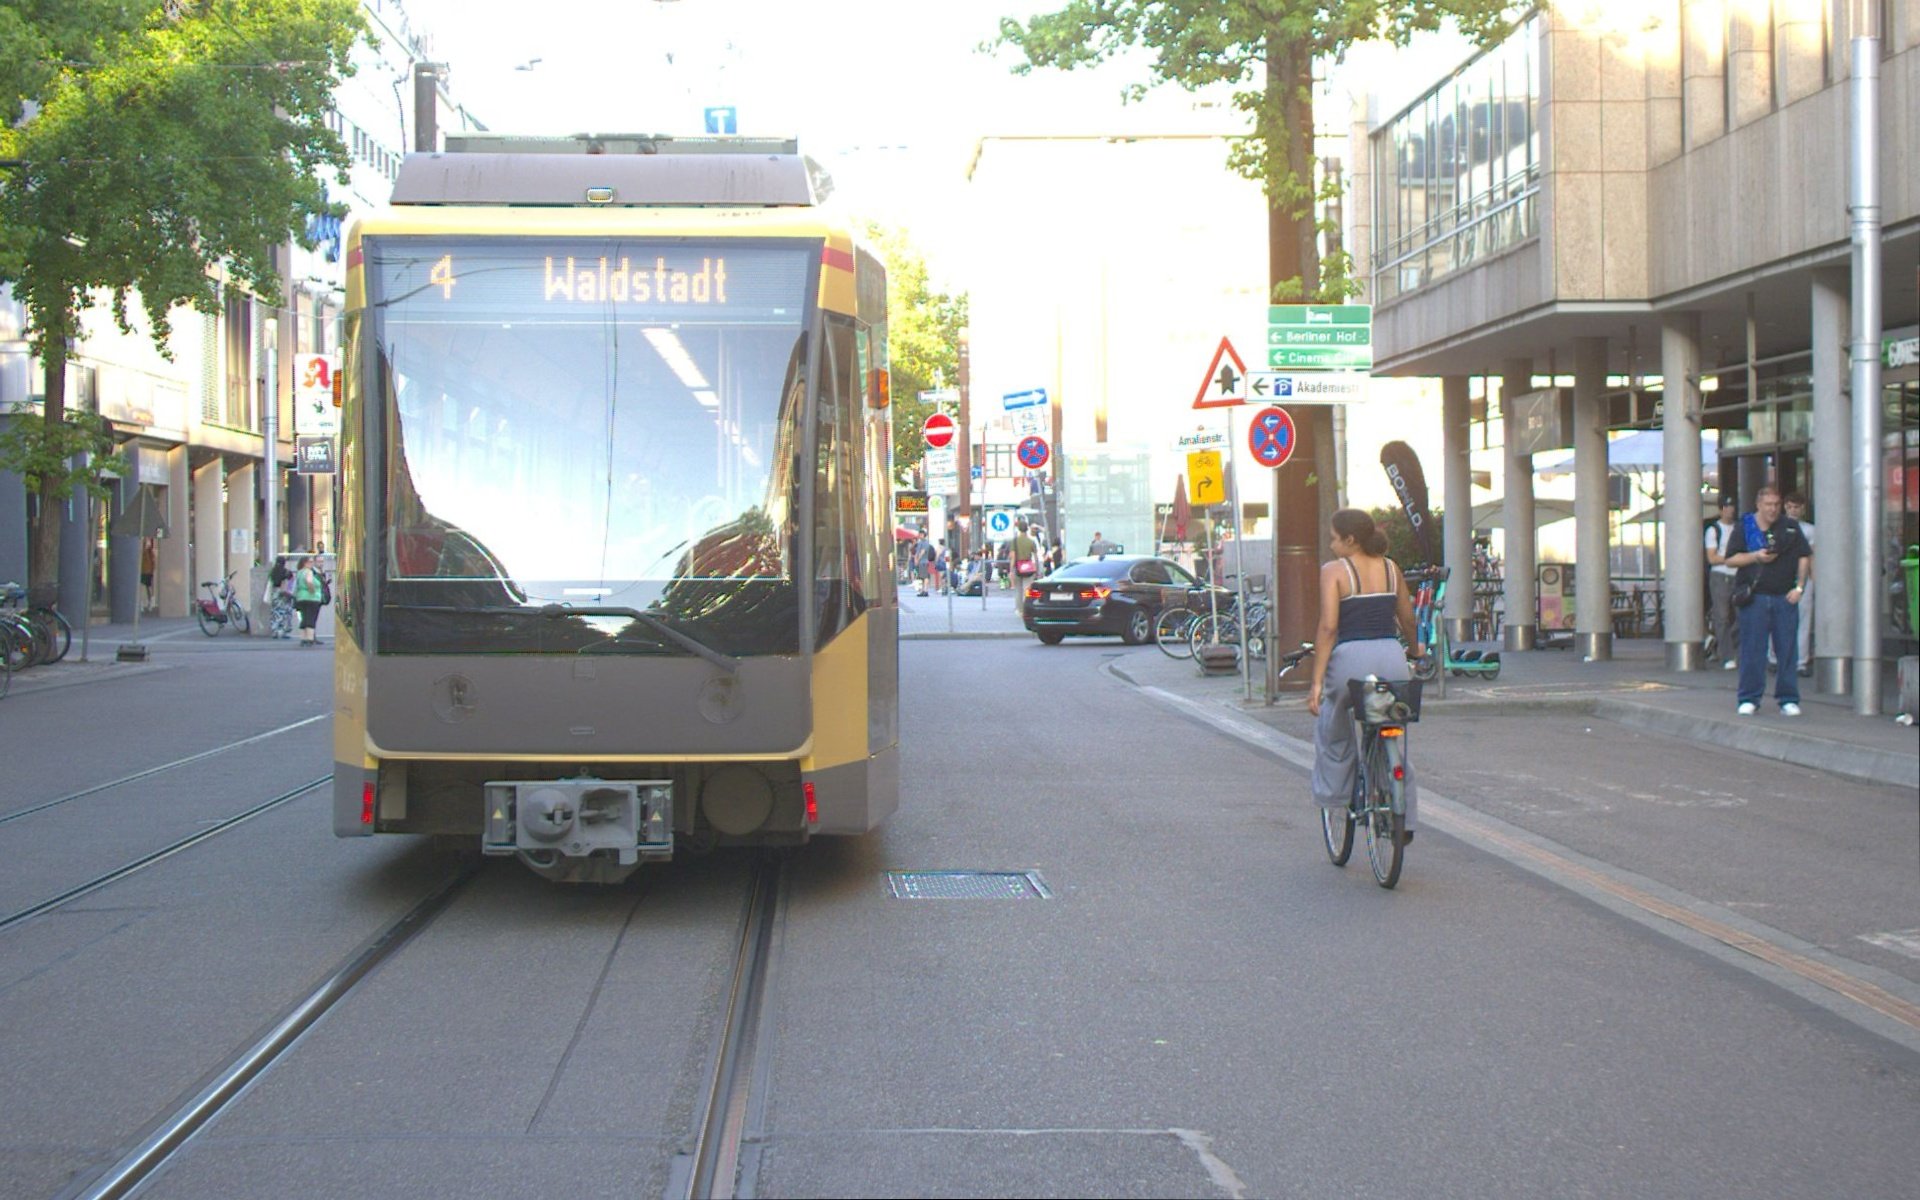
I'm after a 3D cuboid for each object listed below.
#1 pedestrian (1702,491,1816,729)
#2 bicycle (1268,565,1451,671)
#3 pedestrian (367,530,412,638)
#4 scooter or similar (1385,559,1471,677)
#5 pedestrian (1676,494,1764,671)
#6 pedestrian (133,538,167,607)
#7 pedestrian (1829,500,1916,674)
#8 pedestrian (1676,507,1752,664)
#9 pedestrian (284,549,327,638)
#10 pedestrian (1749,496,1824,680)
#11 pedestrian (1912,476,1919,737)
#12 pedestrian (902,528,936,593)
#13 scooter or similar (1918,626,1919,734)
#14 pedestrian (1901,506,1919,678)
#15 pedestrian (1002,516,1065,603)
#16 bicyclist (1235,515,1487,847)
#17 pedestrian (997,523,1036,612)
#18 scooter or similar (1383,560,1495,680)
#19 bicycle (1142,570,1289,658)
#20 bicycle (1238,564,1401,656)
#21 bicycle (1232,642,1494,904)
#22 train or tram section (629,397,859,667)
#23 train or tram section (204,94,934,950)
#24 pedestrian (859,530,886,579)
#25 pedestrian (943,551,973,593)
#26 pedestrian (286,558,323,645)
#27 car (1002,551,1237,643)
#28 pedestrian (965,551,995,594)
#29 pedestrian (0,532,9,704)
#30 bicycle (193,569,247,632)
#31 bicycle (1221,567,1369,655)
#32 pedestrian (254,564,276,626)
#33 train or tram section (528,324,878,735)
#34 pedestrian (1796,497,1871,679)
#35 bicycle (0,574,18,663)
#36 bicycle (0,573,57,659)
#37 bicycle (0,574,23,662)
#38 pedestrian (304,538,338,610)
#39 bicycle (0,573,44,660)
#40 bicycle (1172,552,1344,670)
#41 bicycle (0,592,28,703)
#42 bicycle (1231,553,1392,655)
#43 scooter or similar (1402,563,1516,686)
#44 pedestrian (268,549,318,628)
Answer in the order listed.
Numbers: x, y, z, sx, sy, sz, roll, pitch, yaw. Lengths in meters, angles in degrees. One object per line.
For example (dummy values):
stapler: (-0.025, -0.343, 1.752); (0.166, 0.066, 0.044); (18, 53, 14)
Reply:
pedestrian: (6.265, 0.073, 26.982); (0.668, 1.833, 0.708); (-1, 0, -2)
bicycle: (4.733, 0.209, 40.743); (1.995, 1.151, 0.726); (-3, 1, -6)
pedestrian: (-10.267, -0.293, 61.851); (0.773, 1.919, 0.709); (-1, 0, -10)
scooter or similar: (5.160, 0.194, 37.869); (0.393, 1.247, 1.189); (0, 2, 37)
pedestrian: (8.038, -0.190, 36.376); (0.668, 1.833, 0.880); (-1, 0, -2)
pedestrian: (-20.326, -0.680, 86.256); (0.713, 1.719, 0.709); (-1, 0, -3)
pedestrian: (9.477, -0.137, 35.719); (0.663, 1.780, 0.719); (-1, 0, -1)
pedestrian: (8.709, -0.172, 39.732); (0.663, 1.780, 0.719); (-1, 0, -1)
pedestrian: (-11.410, -0.120, 59.983); (0.684, 1.536, 0.605); (-1, 0, -7)
pedestrian: (8.229, -0.125, 34.248); (0.539, 1.800, 0.604); (-1, 1, -3)
pedestrian: (7.061, 0.045, 23.922); (0.639, 1.833, 0.668); (-1, 0, -1)
pedestrian: (-1.148, -1.102, 95.582); (0.733, 1.817, 0.820); (0, 1, -16)
scooter or similar: (7.423, 0.547, 24.990); (0.834, 0.881, 0.686); (1, 0, 13)
pedestrian: (10.232, -0.092, 35.715); (0.663, 1.780, 0.719); (-1, 0, -1)
pedestrian: (1.572, -0.876, 73.896); (1.013, 1.857, 1.043); (0, 0, -22)
bicyclist: (1.859, 0.362, 16.061); (0.997, 1.497, 0.857); (1, 1, -4)
pedestrian: (1.098, -0.636, 67.062); (0.718, 1.719, 0.709); (-1, 0, -1)
scooter or similar: (5.187, 0.211, 37.227); (1.187, 1.247, 0.393); (-2, 2, -31)
bicycle: (3.418, 0.182, 45.991); (1.852, 1.105, 0.667); (-2, 1, -4)
bicycle: (4.576, 0.122, 43.822); (1.914, 1.074, 0.763); (-3, 1, -6)
bicycle: (1.848, 0.769, 16.091); (0.815, 1.069, 2.114); (1, 1, -4)
train or tram section: (-2.945, -0.966, 49.602); (2.800, 3.308, 14.510); (0, 1, -2)
train or tram section: (-1.800, -0.440, 20.623); (2.800, 3.308, 14.510); (0, 1, -2)
pedestrian: (-2.926, -1.525, 115.380); (0.767, 1.655, 0.794); (0, 1, 10)
pedestrian: (-0.052, -0.814, 99.533); (0.792, 1.217, 0.769); (0, 1, -5)
pedestrian: (-11.288, 0.019, 59.231); (0.603, 1.489, 0.555); (-1, 0, -10)
car: (2.580, -0.041, 54.730); (1.773, 1.404, 4.043); (0, 0, 37)
pedestrian: (0.579, -0.804, 98.745); (0.792, 1.217, 0.769); (0, 1, -5)
pedestrian: (-9.770, 0.178, 33.814); (0.602, 1.693, 0.535); (1, 1, 27)
bicycle: (-13.799, 0.008, 64.137); (0.498, 1.104, 1.800); (0, 2, 3)
bicycle: (4.495, 0.142, 46.189); (1.852, 1.105, 0.667); (-2, 1, -4)
pedestrian: (-17.239, -0.123, 85.323); (0.508, 1.542, 0.518); (-1, 0, -10)
train or tram section: (-2.370, -0.706, 35.131); (2.800, 3.308, 14.510); (0, 1, -2)
pedestrian: (8.746, -0.125, 34.430); (0.539, 1.800, 0.604); (-1, 1, -3)
bicycle: (-12.204, 0.202, 41.036); (1.772, 1.041, 0.489); (1, 1, -2)
bicycle: (-12.226, 0.184, 42.921); (1.772, 1.041, 0.489); (1, 1, -2)
bicycle: (-12.209, 0.200, 41.279); (1.772, 1.041, 0.489); (1, 1, -2)
pedestrian: (-15.558, -0.632, 83.743); (0.713, 1.719, 0.709); (-1, 0, -3)
bicycle: (-12.244, 0.190, 42.340); (1.772, 1.041, 0.489); (1, 1, -2)
bicycle: (3.610, 0.121, 41.677); (1.914, 1.328, 0.726); (-3, 1, -6)
bicycle: (-9.629, 0.466, 33.975); (0.488, 1.041, 1.778); (0, 1, -5)
bicycle: (4.553, 0.041, 44.568); (1.914, 1.218, 0.763); (-3, 1, -6)
scooter or similar: (5.306, 0.252, 36.539); (1.112, 1.247, 0.497); (-2, 2, -32)
pedestrian: (-12.180, -0.211, 62.772); (0.555, 1.429, 0.684); (-1, 0, 36)
